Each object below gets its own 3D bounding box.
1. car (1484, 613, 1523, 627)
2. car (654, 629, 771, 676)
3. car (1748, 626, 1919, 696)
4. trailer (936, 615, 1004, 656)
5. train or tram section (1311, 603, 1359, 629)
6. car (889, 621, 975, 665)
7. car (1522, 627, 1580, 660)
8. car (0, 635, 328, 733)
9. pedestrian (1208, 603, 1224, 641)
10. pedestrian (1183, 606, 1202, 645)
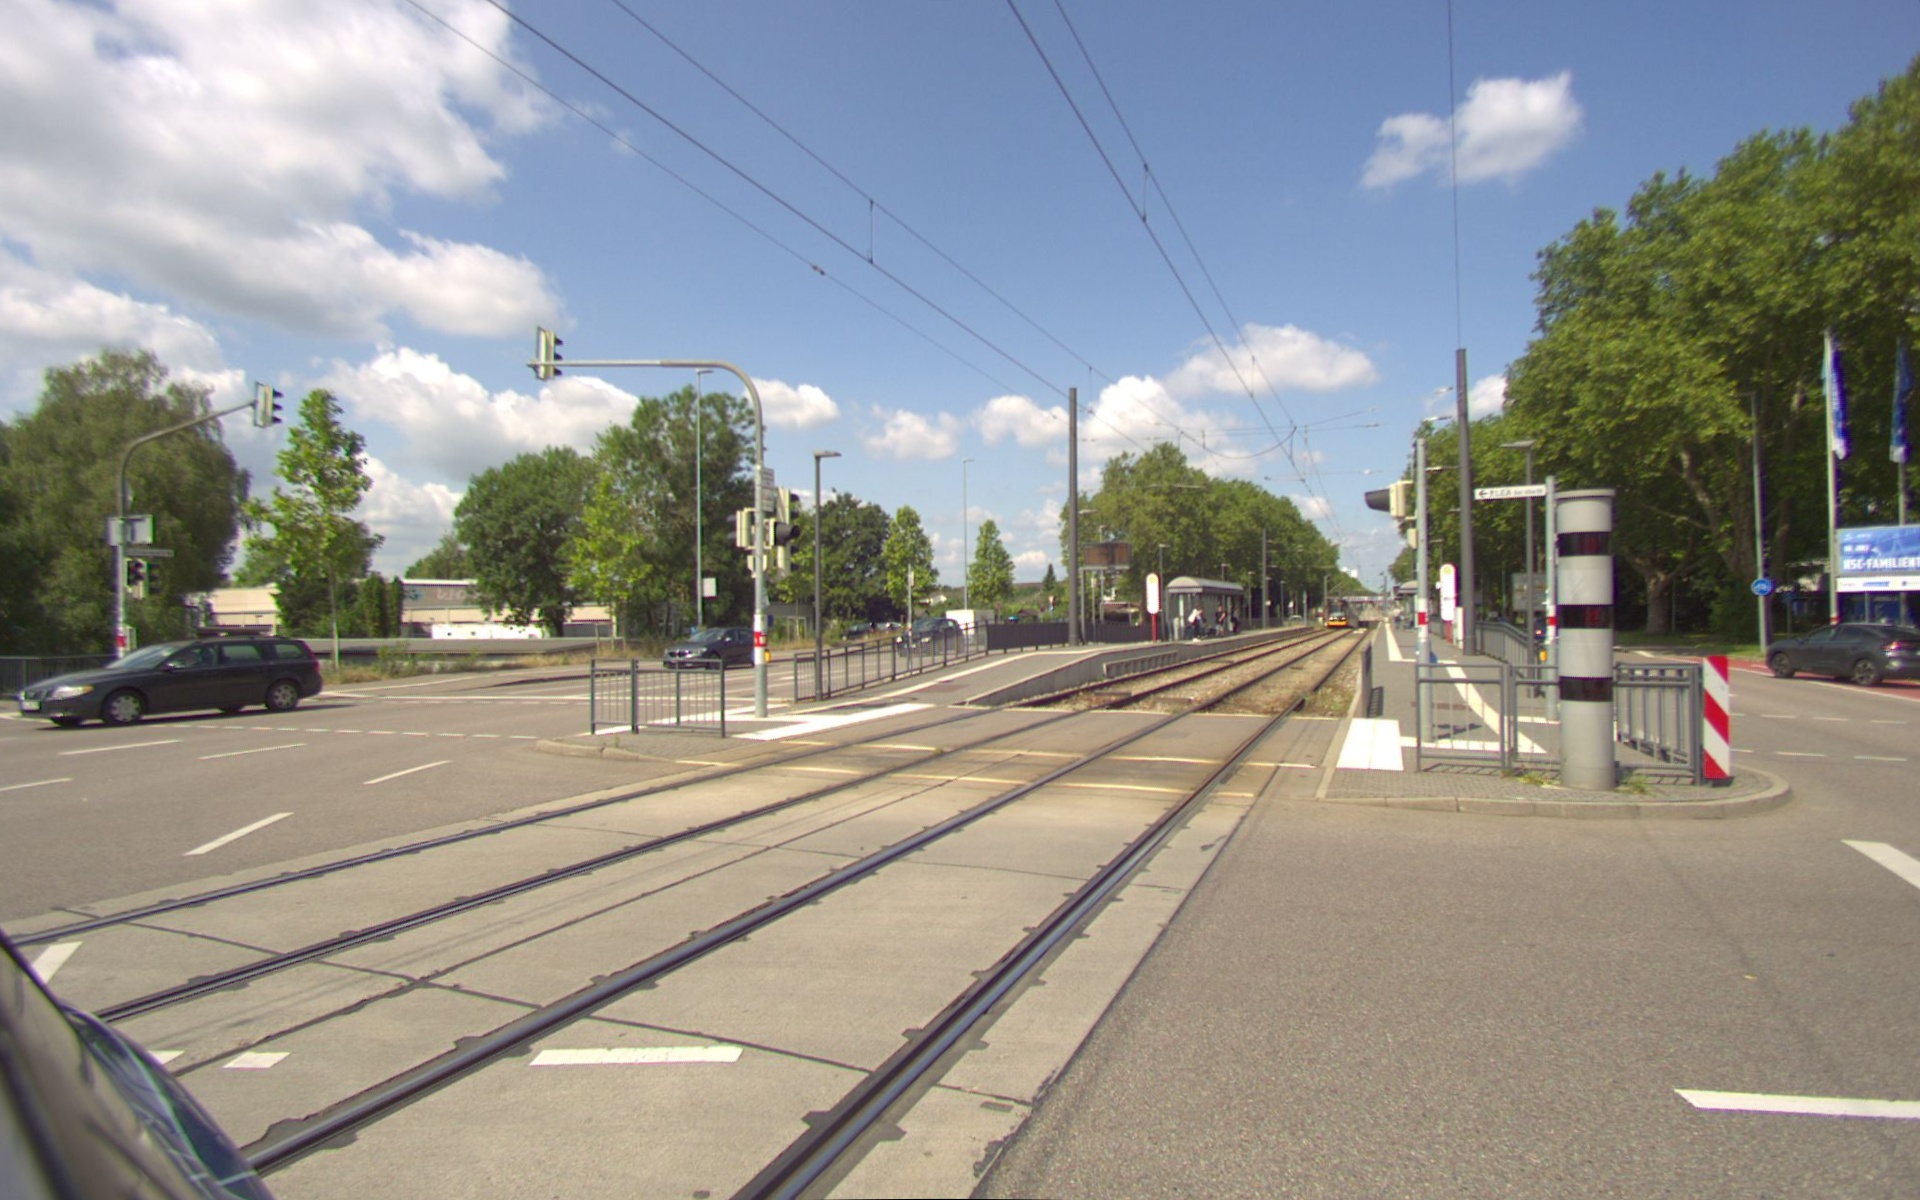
[{"bbox_3d":[60.937,2.207,113.554,3.931,1.475,2.006,0,0,-28],"label":"car"},{"bbox_3d":[-8.438,1.774,34.808,1.721,1.458,4.032,-2,-2,27],"label":"car"},{"bbox_3d":[22.176,1.423,24.939,1.992,1.388,4.255,-1,0,-4],"label":"car"},{"bbox_3d":[0.548,1.634,48.262,1.810,1.845,5.151,0,-1,18],"label":"trailer"},{"bbox_3d":[48.562,2.162,130.516,4.502,3.055,24.929,-1,-1,23],"label":"train or tram section"},{"bbox_3d":[-1.112,1.799,43.284,1.984,1.586,5.220,-1,0,19],"label":"car"},{"bbox_3d":[31.063,2.262,53.309,1.986,1.608,3.972,0,-1,21],"label":"car"},{"bbox_3d":[-14.830,1.456,19.057,1.954,1.520,4.746,-1,-1,22],"label":"car"},{"bbox_3d":[13.003,1.112,51.344,0.755,1.867,0.788,0,-1,17],"label":"pedestrian"},{"bbox_3d":[10.366,1.129,45.104,0.756,1.722,0.787,-1,-1,20],"label":"pedestrian"}]
